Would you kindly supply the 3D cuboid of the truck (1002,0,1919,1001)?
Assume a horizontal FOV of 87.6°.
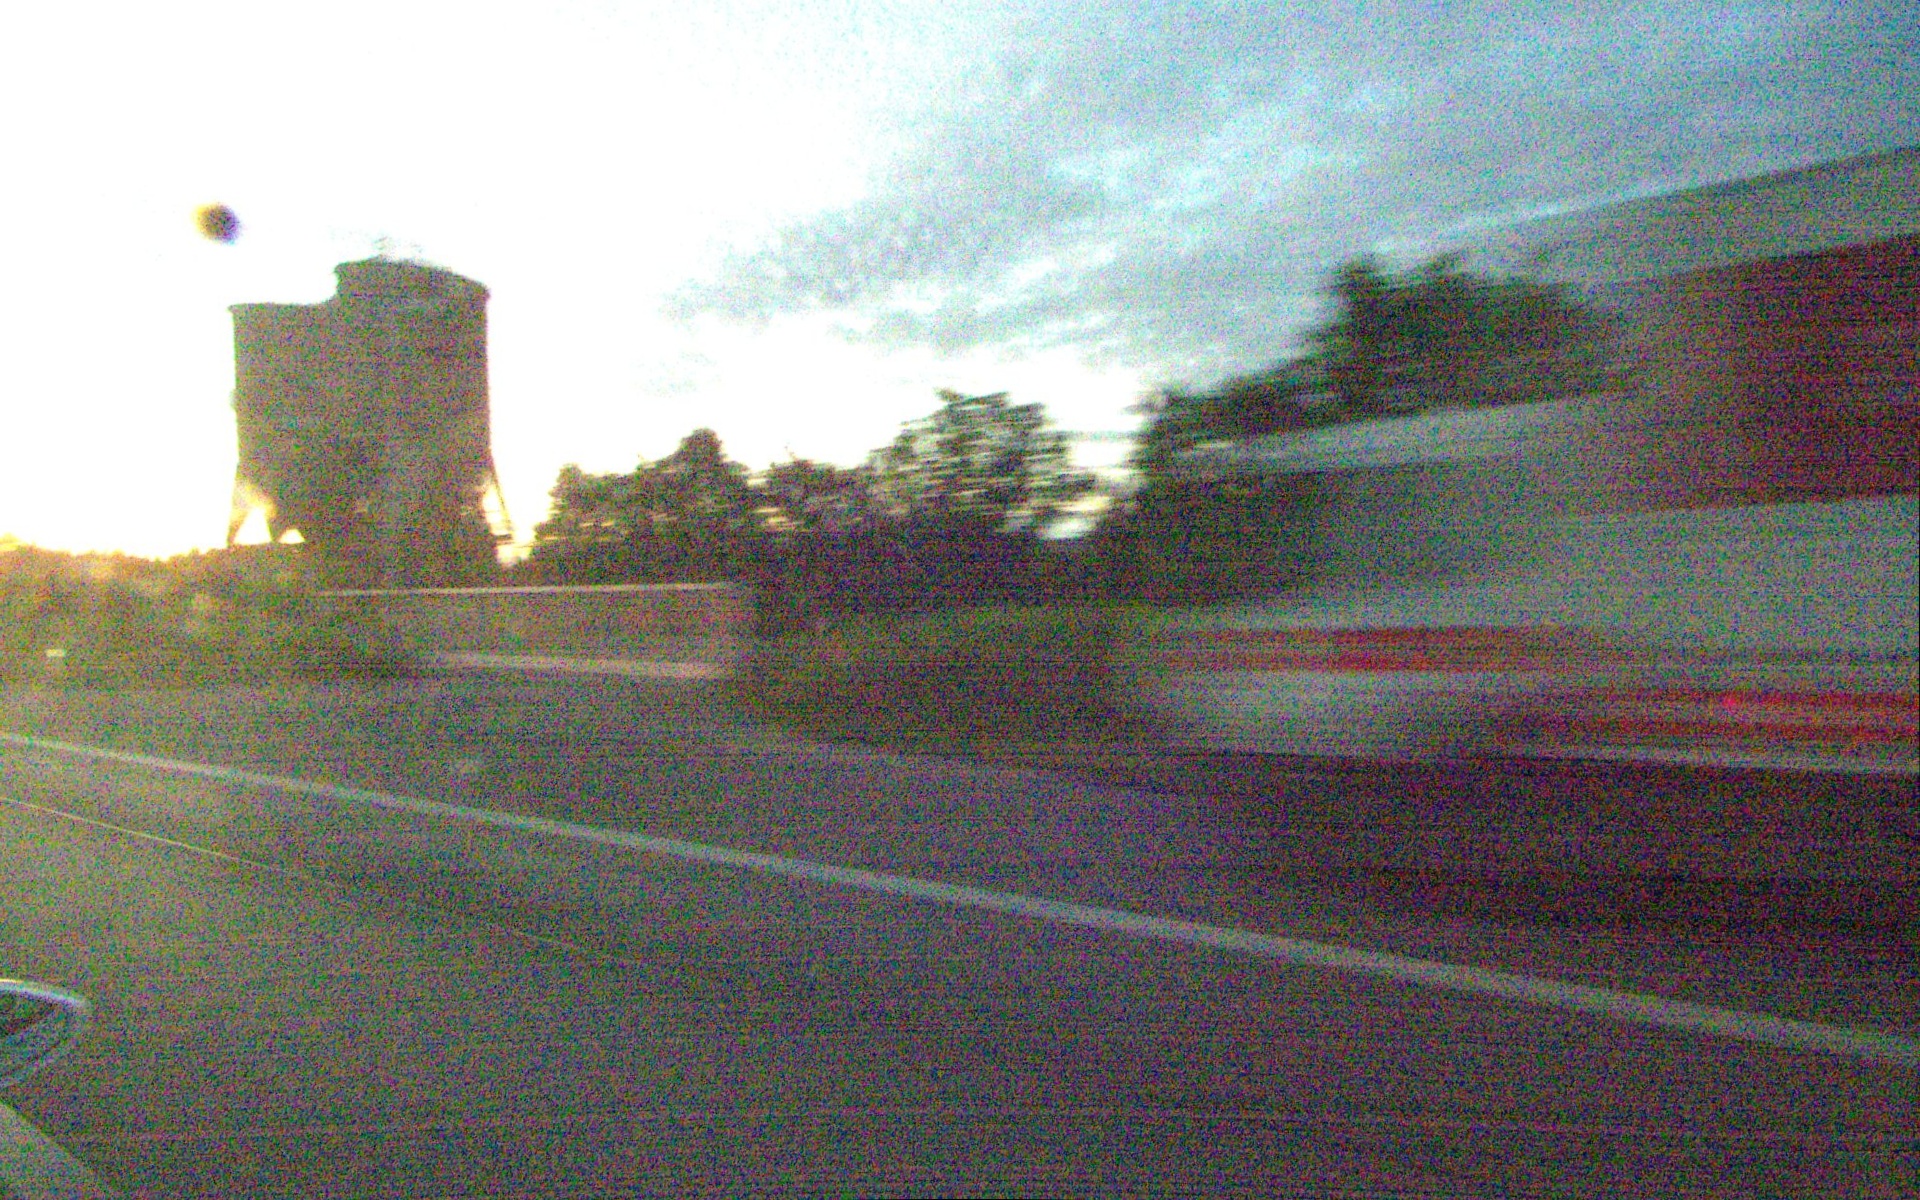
[{"bbox_3d":[4.833,-0.541,4.810,9.018,4.165,2.908,-1,0,32],"label":"truck"}]
